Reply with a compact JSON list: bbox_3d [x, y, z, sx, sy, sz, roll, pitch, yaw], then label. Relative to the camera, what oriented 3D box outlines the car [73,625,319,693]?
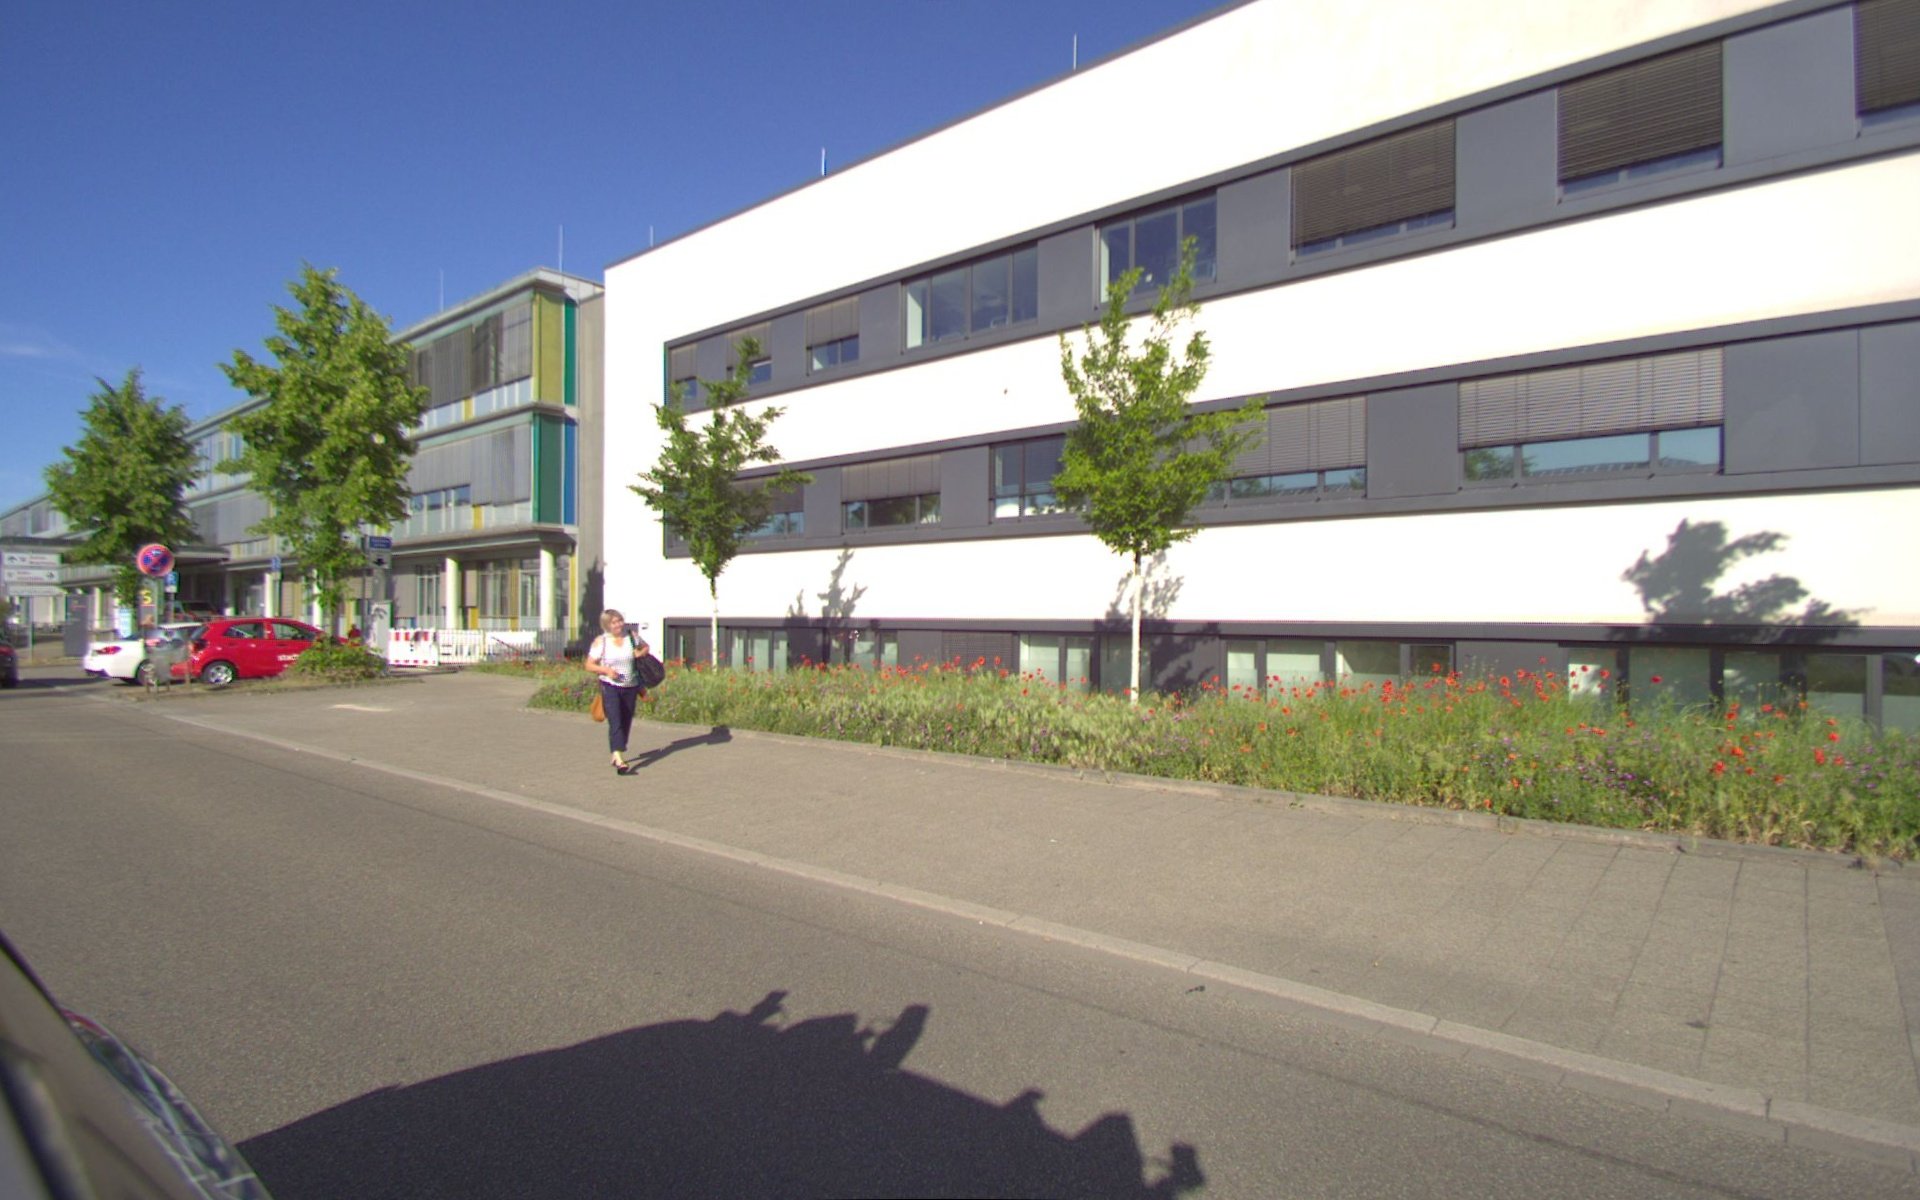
[{"bbox_3d":[-18.029,1.332,24.055,1.700,1.378,4.462,-1,-1,43],"label":"car"}]

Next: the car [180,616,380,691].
[{"bbox_3d":[-15.503,1.168,23.171,3.592,1.480,1.615,-1,-1,-43],"label":"car"}]

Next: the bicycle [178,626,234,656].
[{"bbox_3d":[-29.531,1.599,39.654,1.683,1.130,0.536,1,-2,-45],"label":"bicycle"}]

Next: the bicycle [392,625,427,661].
[{"bbox_3d":[-17.608,1.372,32.352,1.763,1.132,0.416,-1,-2,42],"label":"bicycle"}]

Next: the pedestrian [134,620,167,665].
[{"bbox_3d":[-28.758,1.501,35.972,0.779,1.561,0.765,-1,1,41],"label":"pedestrian"}]

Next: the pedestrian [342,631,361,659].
[{"bbox_3d":[-26.014,1.928,43.265,0.555,1.182,0.526,-1,-1,41],"label":"pedestrian"}]

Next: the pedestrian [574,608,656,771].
[{"bbox_3d":[-3.382,0.848,9.914,0.607,1.535,0.532,-1,-1,42],"label":"pedestrian"}]

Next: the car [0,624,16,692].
[{"bbox_3d":[-22.728,1.260,22.630,4.532,1.453,1.744,-1,-2,39],"label":"car"}]

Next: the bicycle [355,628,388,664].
[{"bbox_3d":[-18.906,1.450,32.494,0.528,1.120,1.863,1,-2,-43],"label":"bicycle"}]

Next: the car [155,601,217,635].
[{"bbox_3d":[-45.416,1.092,59.337,4.707,1.905,1.900,-1,-2,40],"label":"car"}]
